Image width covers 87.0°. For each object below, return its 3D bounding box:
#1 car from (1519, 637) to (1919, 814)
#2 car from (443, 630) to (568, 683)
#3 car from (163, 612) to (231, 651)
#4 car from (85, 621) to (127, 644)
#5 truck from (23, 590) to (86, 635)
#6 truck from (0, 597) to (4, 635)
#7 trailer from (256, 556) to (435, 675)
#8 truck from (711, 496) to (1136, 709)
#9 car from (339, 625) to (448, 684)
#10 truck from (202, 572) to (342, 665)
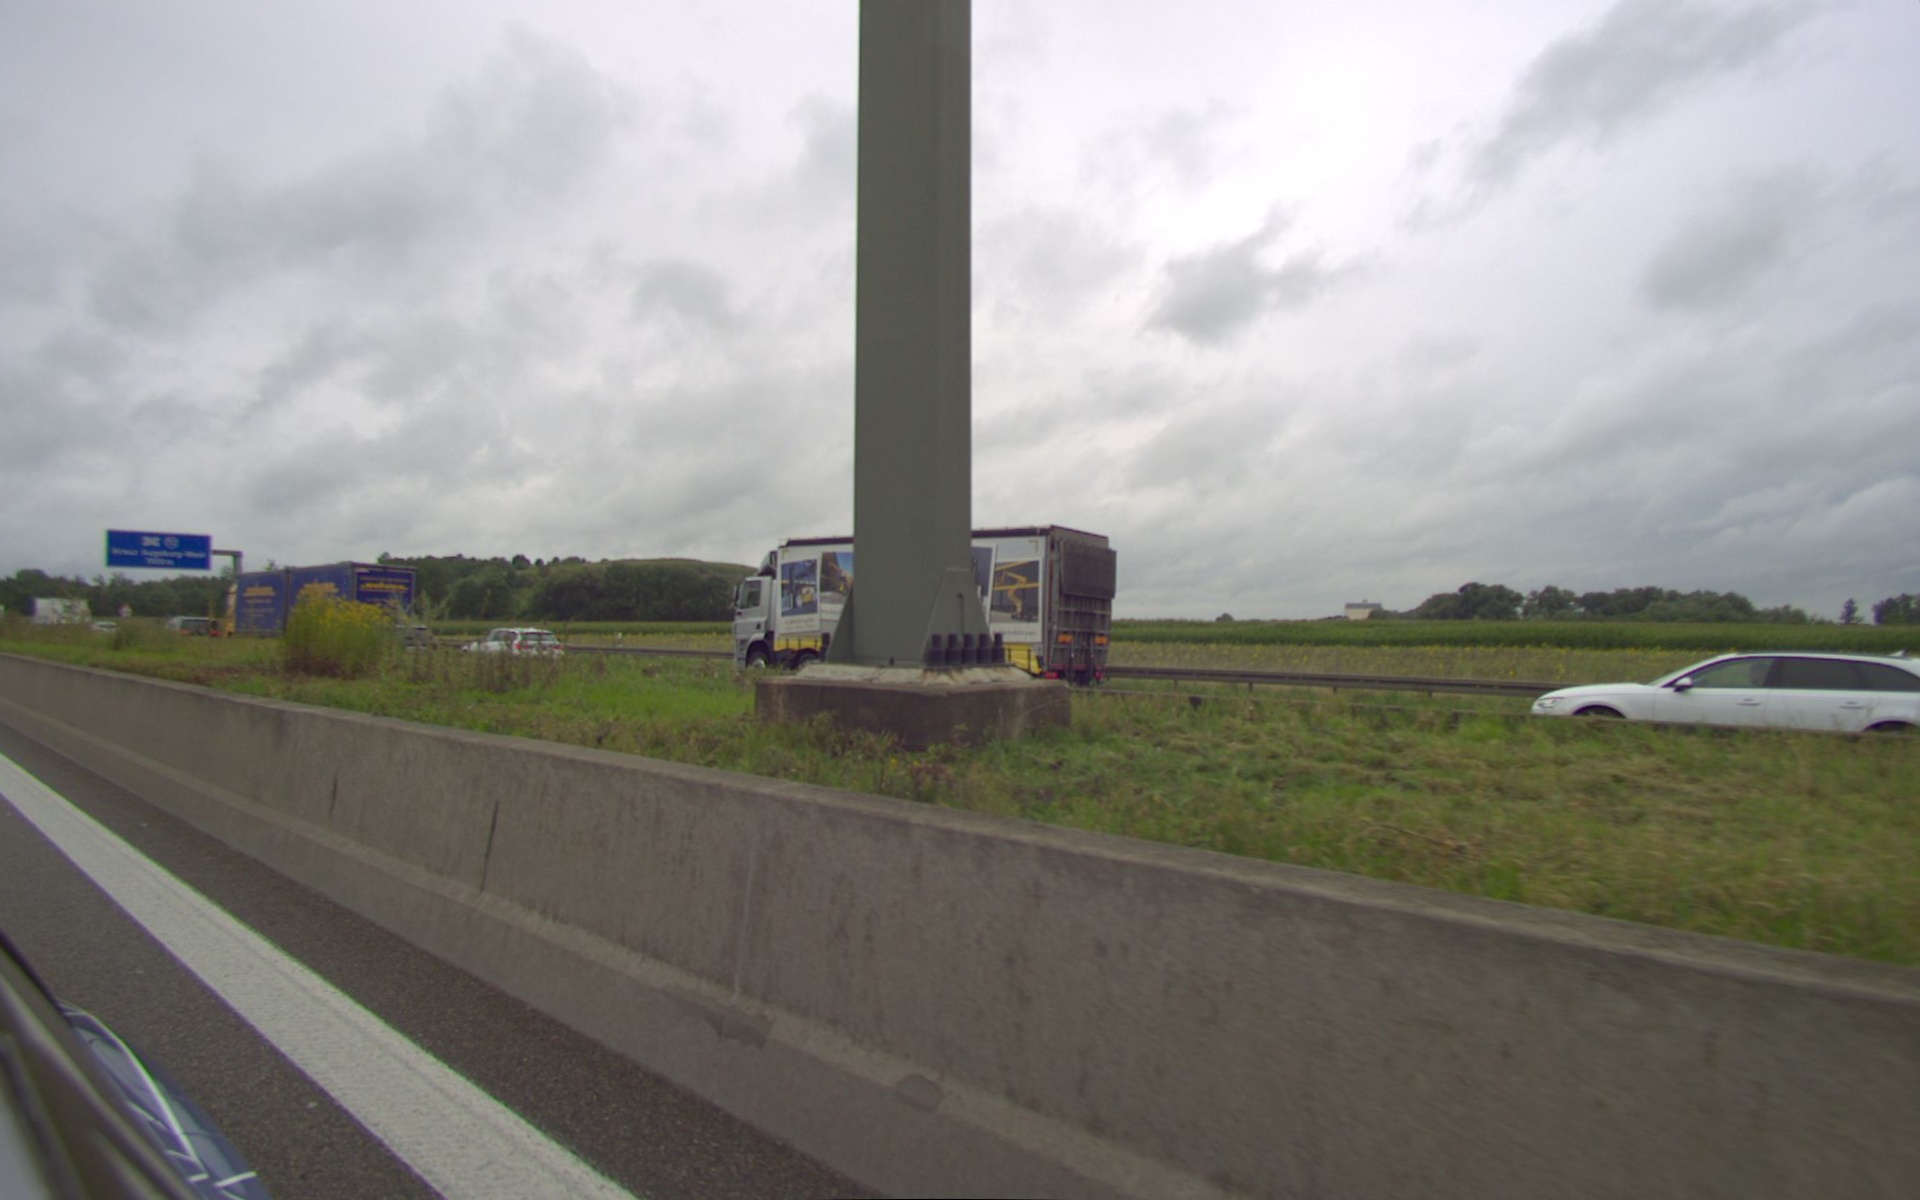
[{"bbox_3d":[9.767,1.396,12.375,4.835,1.730,1.973,-1,0,41],"label":"car"},{"bbox_3d":[-15.467,1.853,34.321,5.011,1.628,1.863,-1,-2,40],"label":"car"},{"bbox_3d":[-37.216,1.520,49.335,3.998,1.798,1.847,-1,-2,41],"label":"car"},{"bbox_3d":[-67.834,2.584,80.369,3.997,1.696,1.973,-1,0,41],"label":"car"},{"bbox_3d":[-84.747,1.132,94.638,10.806,3.997,3.150,-1,0,42],"label":"truck"},{"bbox_3d":[-122.095,2.043,126.233,9.667,4.684,3.192,-1,0,40],"label":"truck"},{"bbox_3d":[-28.182,0.702,46.033,11.671,4.804,3.353,-1,0,40],"label":"trailer"},{"bbox_3d":[-1.459,0.084,26.531,11.776,4.517,3.477,-1,0,40],"label":"truck"},{"bbox_3d":[-17.711,1.642,31.589,3.998,1.721,1.736,-1,-2,41],"label":"car"},{"bbox_3d":[-36.061,0.904,52.812,10.985,4.396,3.377,-1,0,41],"label":"truck"}]
